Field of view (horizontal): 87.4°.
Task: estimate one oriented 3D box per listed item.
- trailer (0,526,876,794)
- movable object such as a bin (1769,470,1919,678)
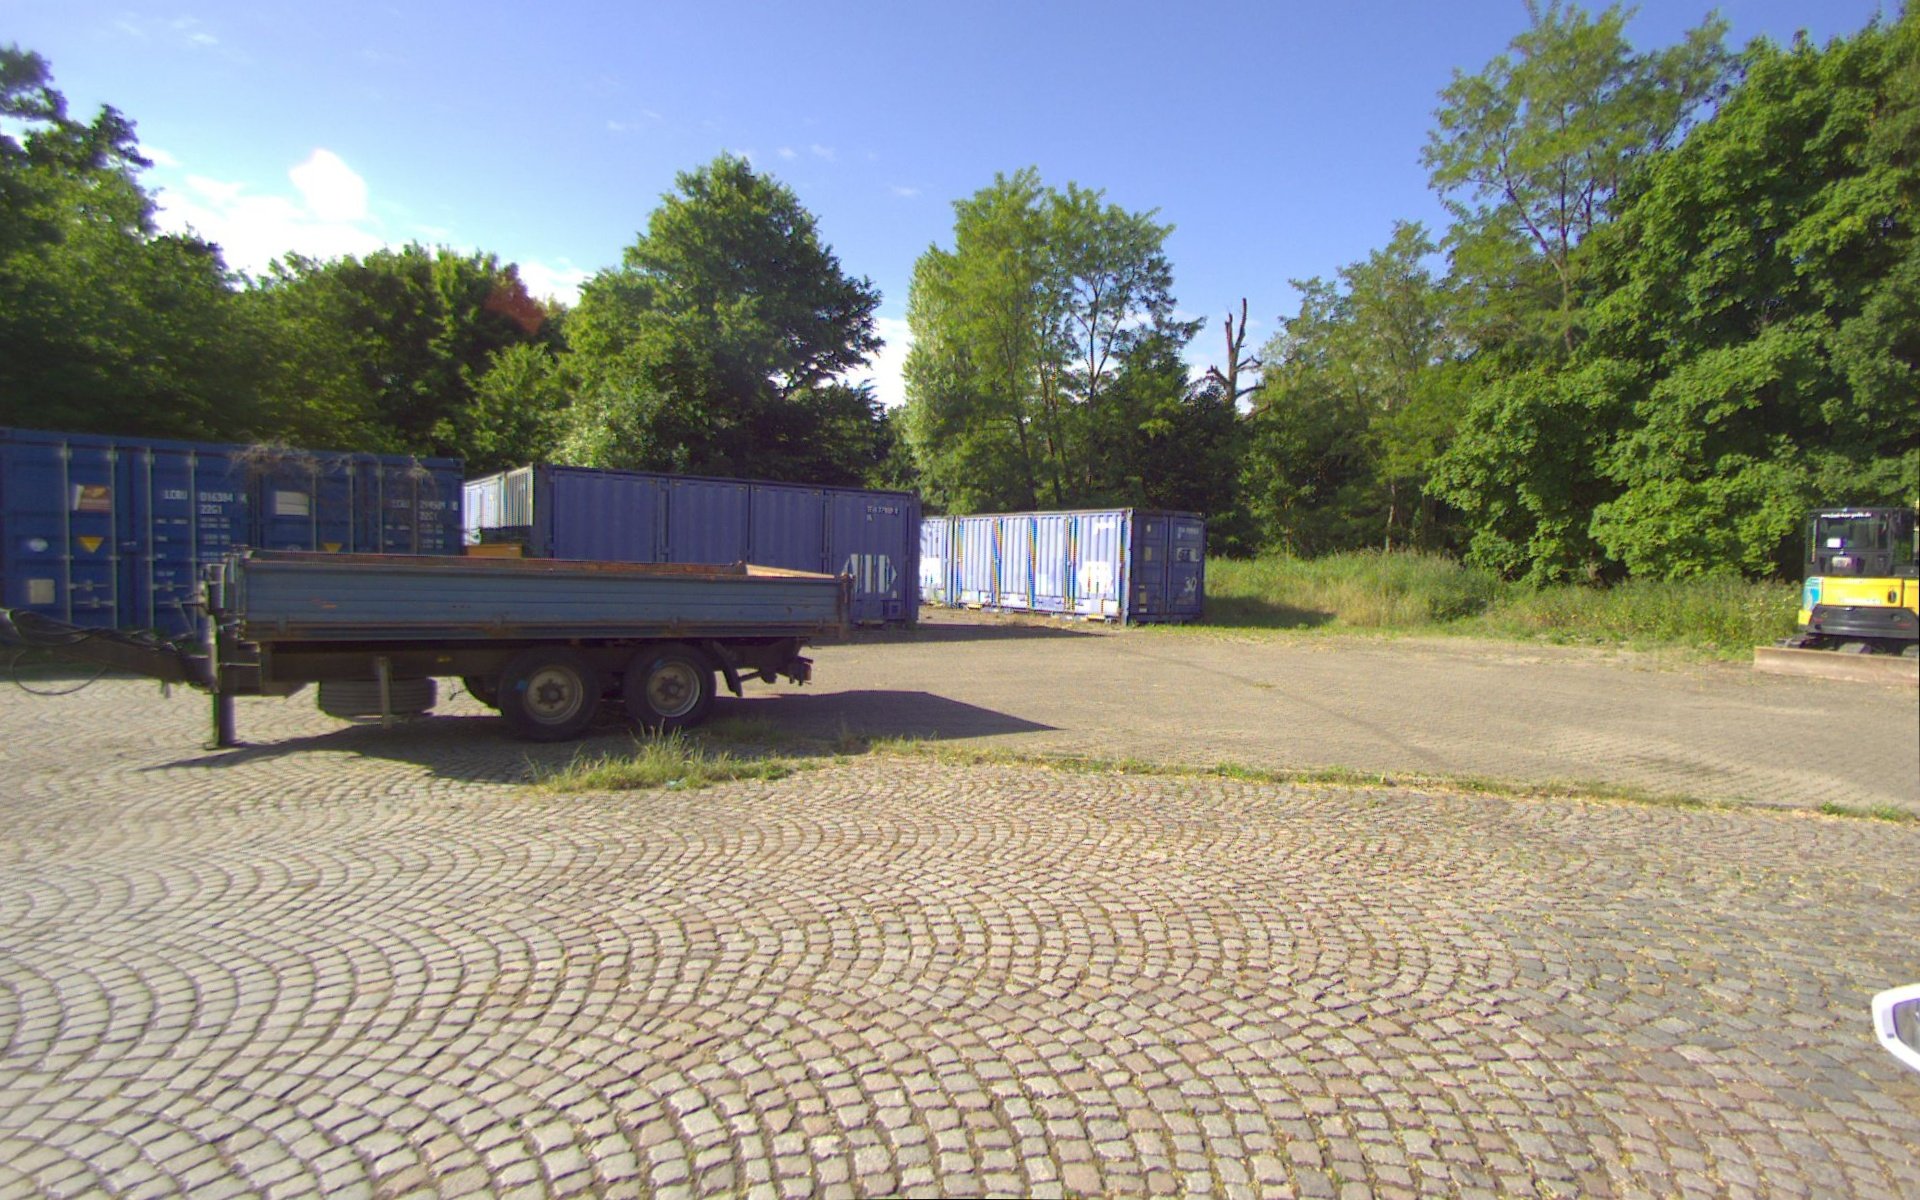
[{"bbox_3d":[-4.200,0.247,8.482,6.427,1.538,2.827,-1,4,-35],"label":"trailer"},{"bbox_3d":[15.716,-0.401,16.505,5.104,3.006,1.984,0,3,-30],"label":"movable object such as a bin"}]
